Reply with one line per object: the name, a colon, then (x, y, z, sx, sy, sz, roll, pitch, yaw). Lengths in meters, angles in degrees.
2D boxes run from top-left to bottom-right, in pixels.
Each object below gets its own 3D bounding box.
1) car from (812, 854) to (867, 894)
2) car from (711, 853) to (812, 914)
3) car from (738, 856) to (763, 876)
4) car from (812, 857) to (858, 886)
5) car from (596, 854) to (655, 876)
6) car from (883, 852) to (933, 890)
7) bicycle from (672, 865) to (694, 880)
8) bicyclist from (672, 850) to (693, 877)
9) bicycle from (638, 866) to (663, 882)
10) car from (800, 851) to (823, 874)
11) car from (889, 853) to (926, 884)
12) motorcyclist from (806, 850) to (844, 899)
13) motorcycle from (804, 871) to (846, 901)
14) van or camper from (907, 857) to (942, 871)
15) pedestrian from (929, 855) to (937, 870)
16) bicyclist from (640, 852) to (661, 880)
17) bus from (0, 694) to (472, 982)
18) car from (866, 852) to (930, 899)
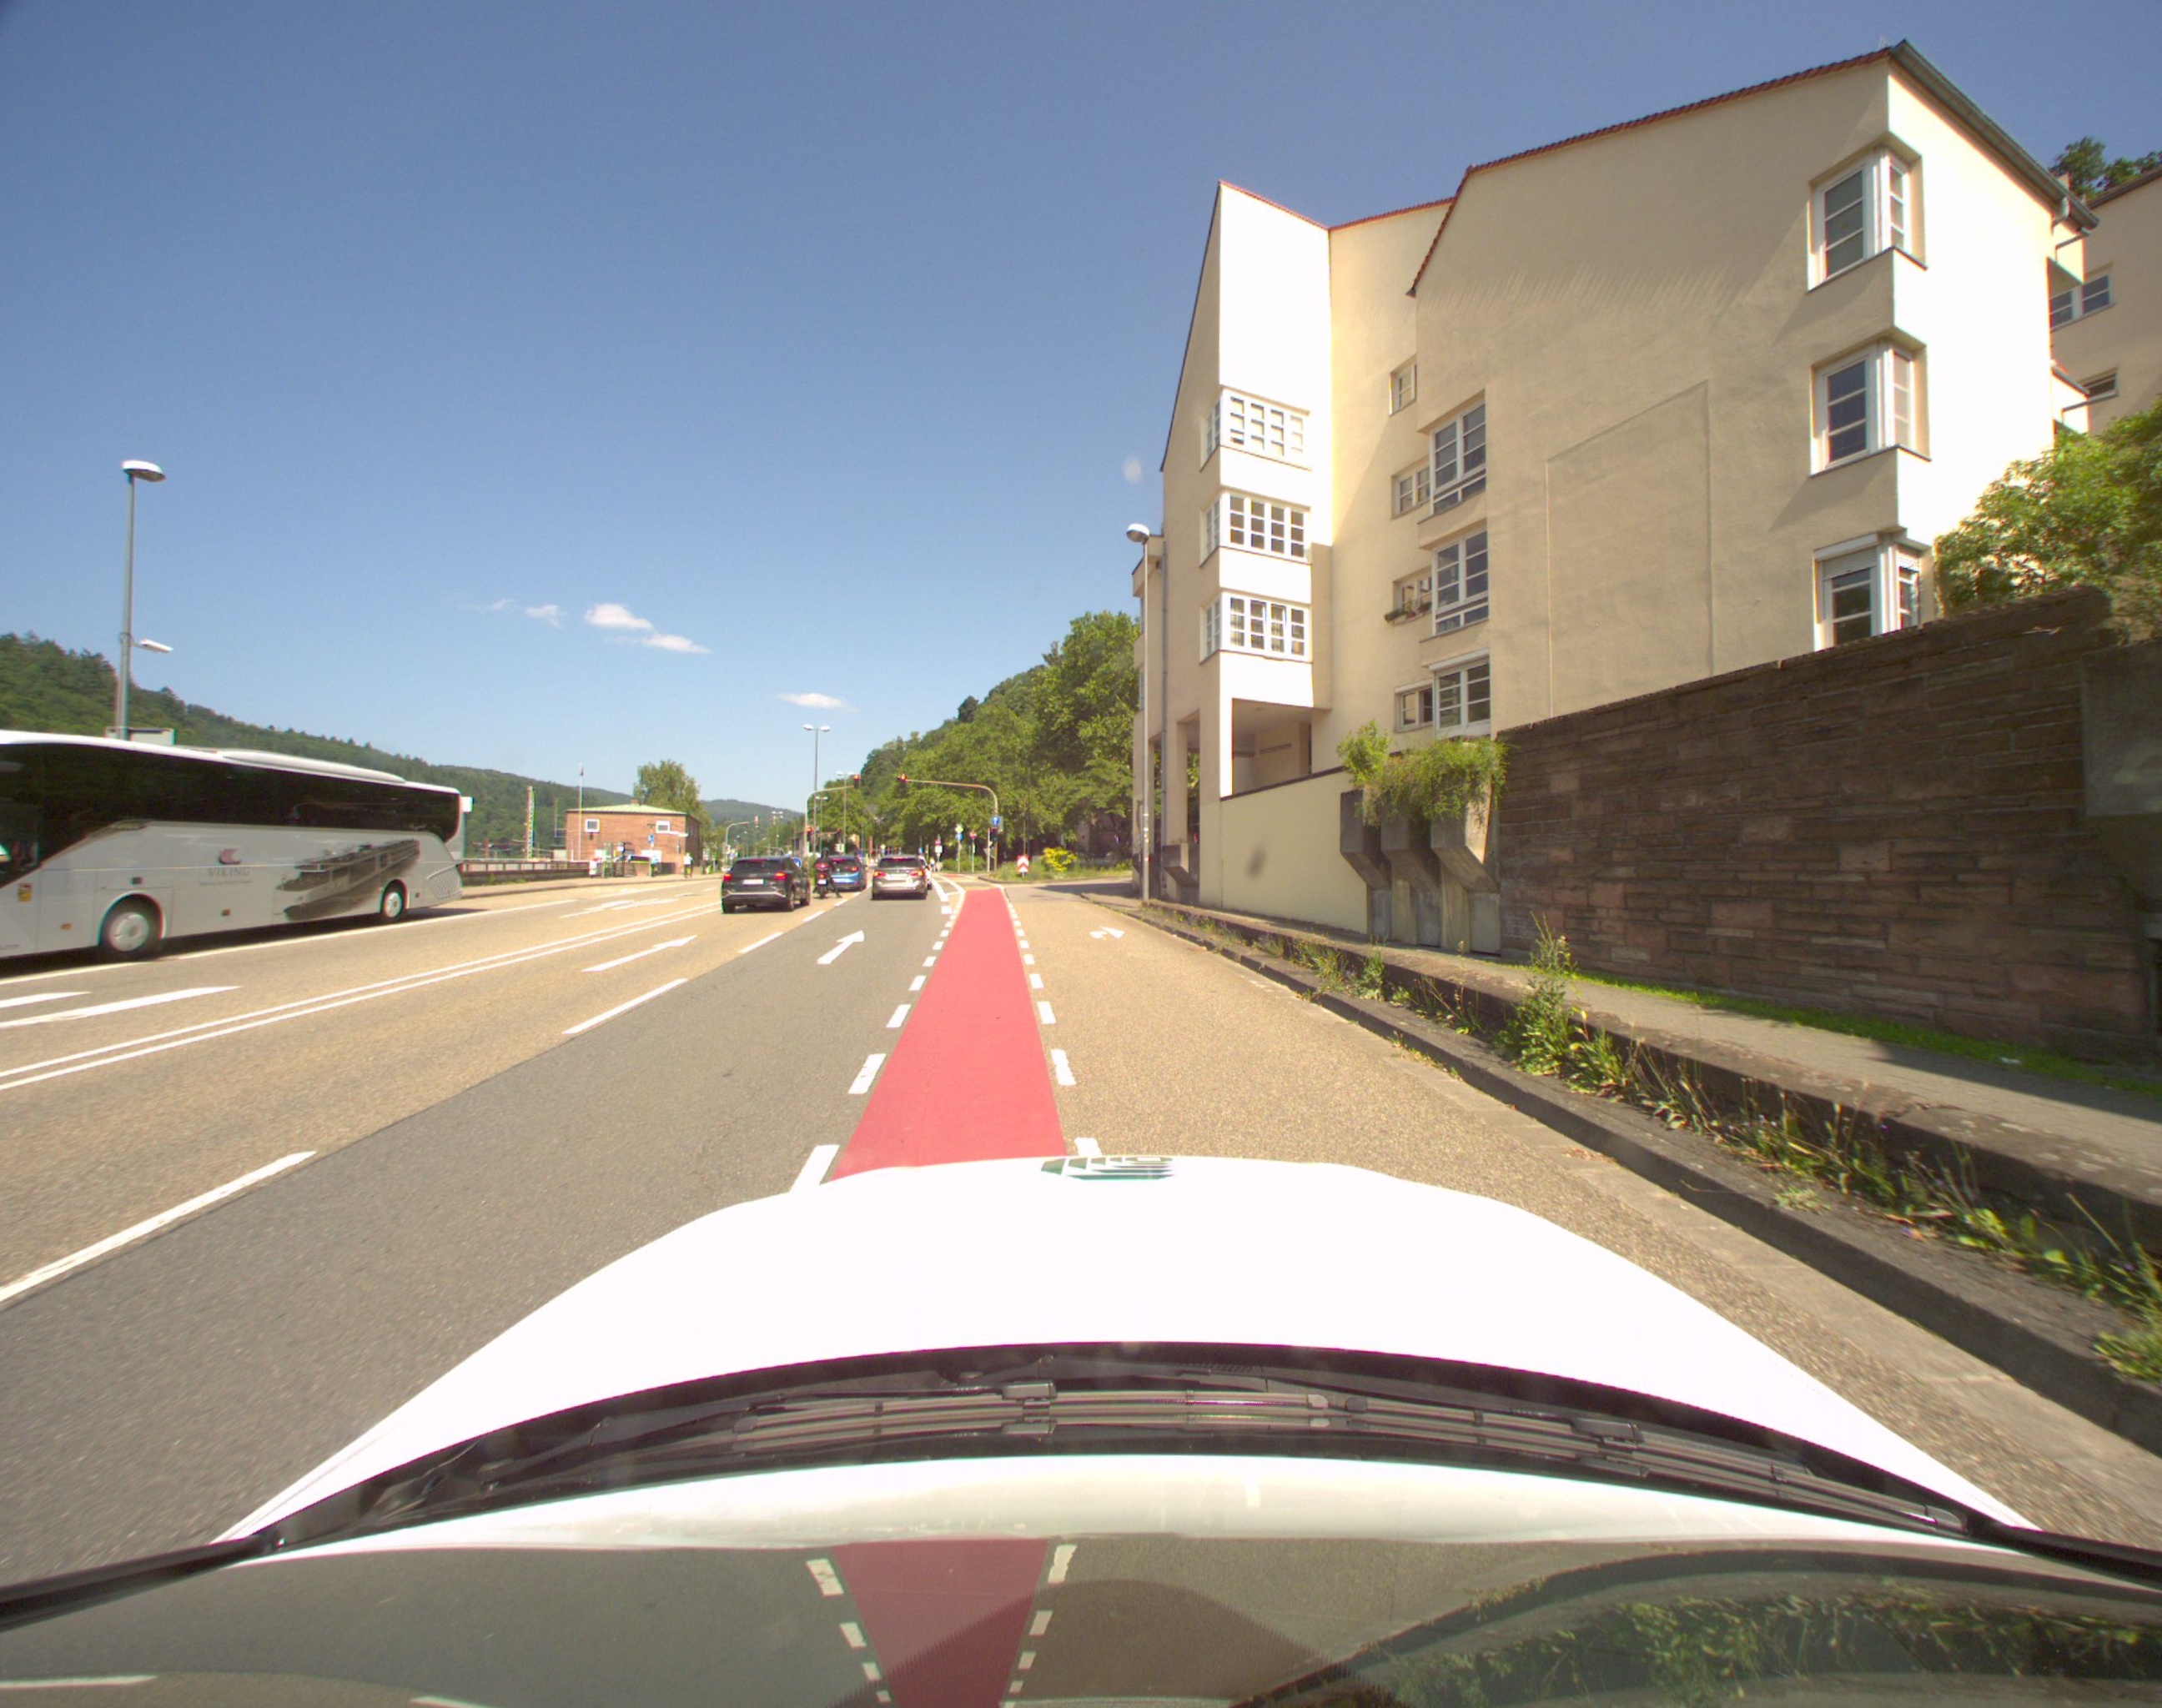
car: (-10.313, 0.816, 35.038, 1.867, 1.562, 3.985, -1, 0, -11)
car: (-8.889, 0.765, 23.002, 1.870, 1.514, 4.135, -1, 0, -11)
car: (-37.074, 1.326, 91.426, 2.220, 2.078, 5.012, -1, 1, -18)
car: (-12.717, 0.883, 42.334, 1.867, 1.359, 3.985, -1, 0, -11)
car: (-44.798, 1.082, 80.167, 1.974, 2.013, 4.647, -1, 0, 38)
car: (-7.617, 0.713, 36.287, 1.994, 1.533, 4.842, -1, 0, -10)
bicycle: (-30.234, 1.383, 61.882, 1.216, 1.090, 2.580, -1, 0, -20)
bicyclist: (-30.224, 0.716, 61.786, 1.216, 2.013, 1.111, -1, 0, -19)
bicycle: (-31.537, 1.448, 59.695, 1.216, 1.090, 2.580, -1, 0, -20)
car: (-32.287, 1.032, 97.434, 2.391, 2.576, 6.015, -1, 0, -20)
car: (-9.187, 0.752, 43.250, 1.786, 1.532, 4.717, -1, 0, -12)
motorcyclist: (-9.012, 0.694, 28.697, 1.075, 1.684, 1.152, -1, 0, -10)
motorcycle: (-9.020, 1.095, 28.782, 1.038, 0.919, 2.597, -1, 0, -9)
van or camper: (-22.704, 1.400, 118.122, 4.518, 1.902, 2.004, -1, 0, 7)
pedestrian: (-17.554, 1.000, 96.774, 0.760, 1.708, 0.877, -1, 0, -4)
bicyclist: (-31.638, 0.847, 59.884, 1.216, 2.013, 1.111, -1, 0, -19)
bus: (-17.099, -0.296, 16.088, 2.960, 3.801, 13.182, 3, 0, -14)
car: (-6.412, 0.720, 28.898, 1.887, 1.521, 4.293, 1, -1, -9)
